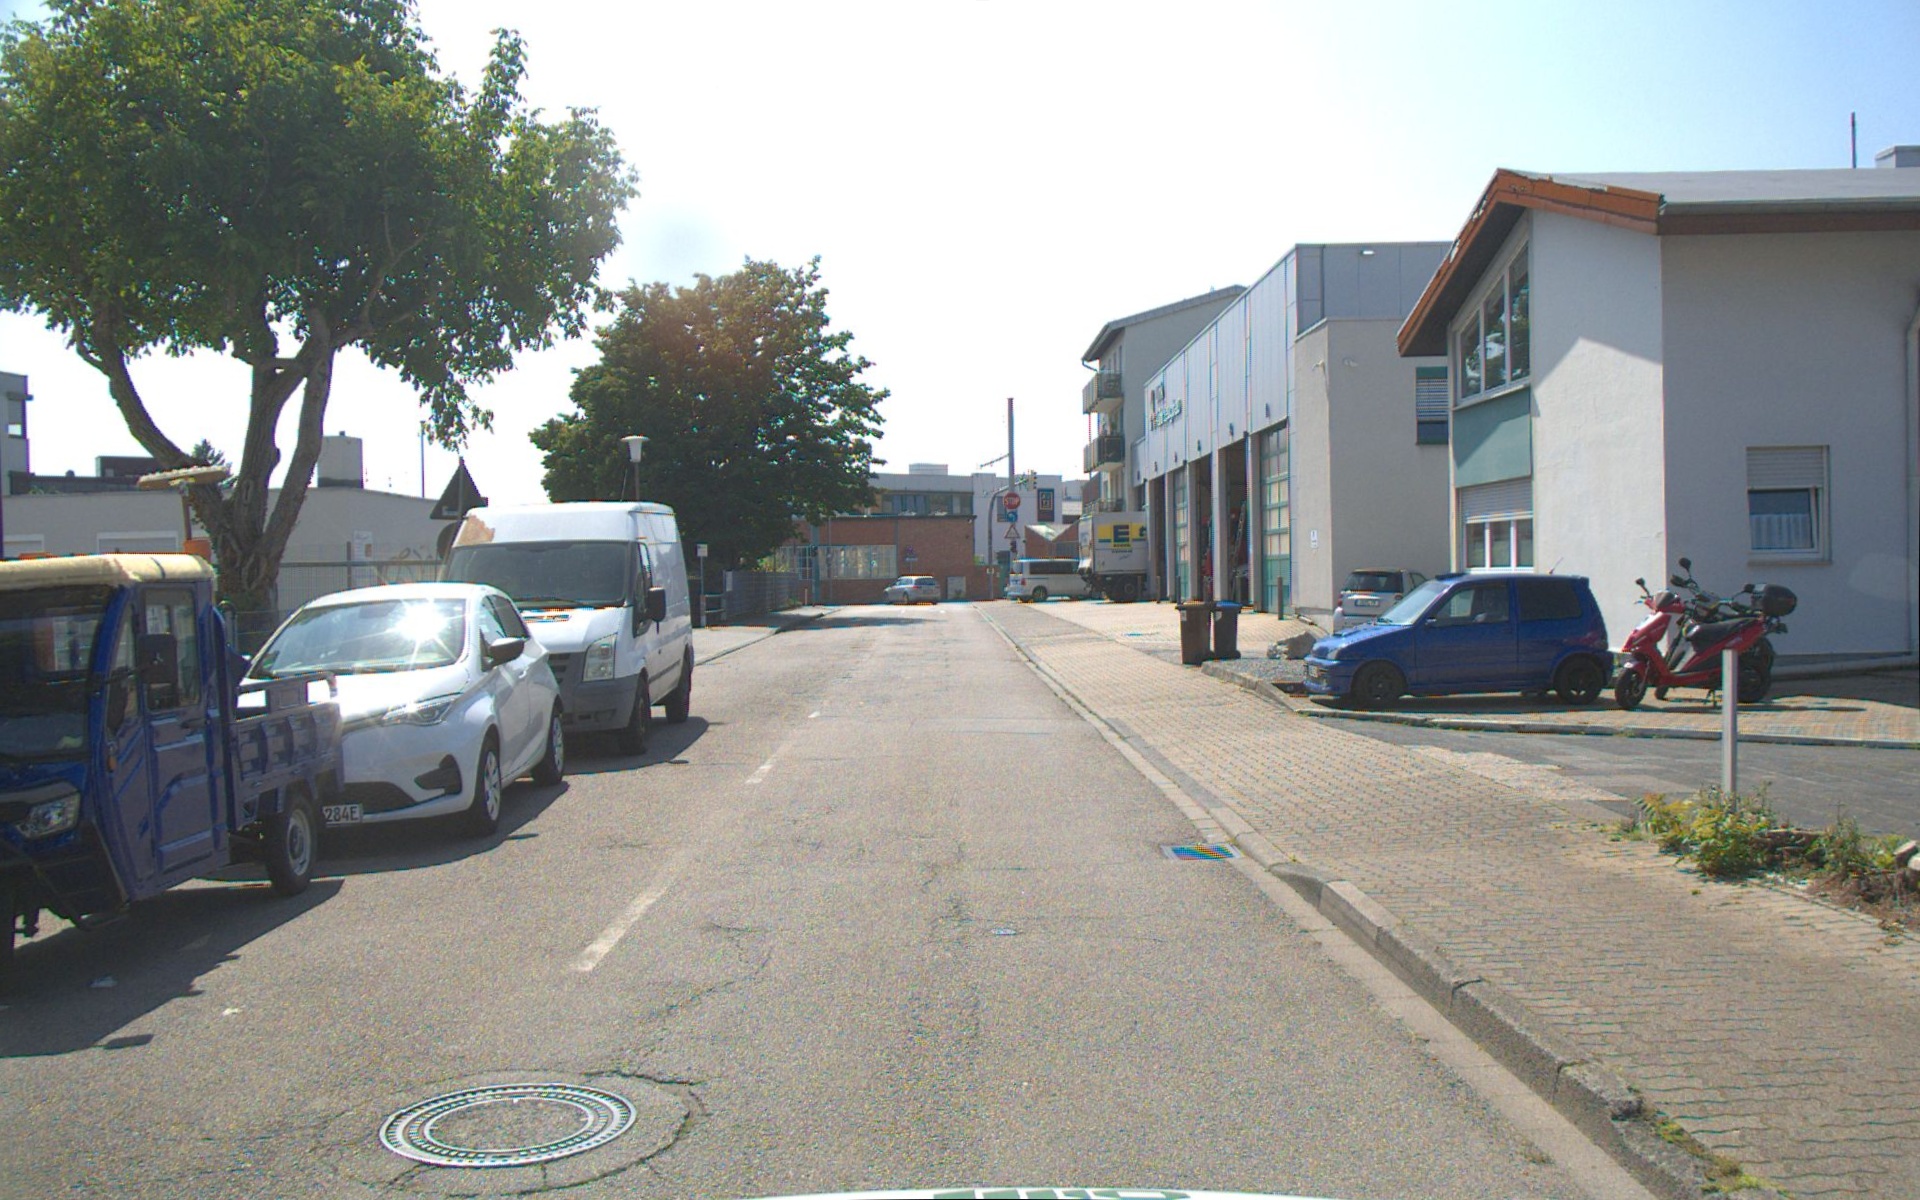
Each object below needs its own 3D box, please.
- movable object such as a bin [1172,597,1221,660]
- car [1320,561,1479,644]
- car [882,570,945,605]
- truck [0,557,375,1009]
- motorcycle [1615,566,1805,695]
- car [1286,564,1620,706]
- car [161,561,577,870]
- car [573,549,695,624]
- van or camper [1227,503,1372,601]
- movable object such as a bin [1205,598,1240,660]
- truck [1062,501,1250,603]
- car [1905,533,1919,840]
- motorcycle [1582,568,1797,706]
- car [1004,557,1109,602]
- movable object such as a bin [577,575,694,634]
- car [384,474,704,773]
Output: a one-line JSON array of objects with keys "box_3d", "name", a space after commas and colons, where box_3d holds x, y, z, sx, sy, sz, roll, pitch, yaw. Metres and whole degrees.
[{"box_3d": [3.708, 0.443, 25.933, 0.557, 0.962, 0.556, -1, 1, 32], "name": "movable object such as a bin"}, {"box_3d": [9.115, 0.024, 34.176, 1.746, 1.566, 3.683, -1, 1, 40], "name": "car"}, {"box_3d": [-2.469, -0.663, 86.739, 1.867, 1.714, 3.925, 1, 1, -26], "name": "car"}, {"box_3d": [-3.798, 0.678, 7.671, 1.116, 1.650, 3.139, -3, 1, -3], "name": "truck"}, {"box_3d": [8.210, 0.318, 18.133, 1.717, 1.301, 0.795, -3, 0, -10], "name": "motorcycle"}, {"box_3d": [5.388, 0.358, 18.349, 3.186, 1.423, 1.673, -1, 1, -1], "name": "car"}, {"box_3d": [-3.773, 0.633, 11.281, 1.671, 1.652, 3.969, -2, 0, -5], "name": "car"}, {"box_3d": [-11.600, -0.482, 59.020, 4.004, 2.557, 1.776, -1, 1, -3], "name": "car"}, {"box_3d": [12.050, -1.684, 58.923, 4.662, 3.346, 1.998, -1, 1, -5], "name": "van or camper"}, {"box_3d": [4.186, 0.456, 26.353, 0.502, 0.962, 0.488, -2, 1, 10], "name": "movable object such as a bin"}, {"box_3d": [8.192, -2.002, 69.607, 7.220, 3.708, 2.764, -4, 1, -7], "name": "truck"}, {"box_3d": [5.872, 0.449, 6.490, 1.775, 1.585, 4.291, -1, 1, -2], "name": "car"}, {"box_3d": [7.527, 0.369, 17.116, 1.832, 1.301, 0.796, -3, 0, -4], "name": "motorcycle"}, {"box_3d": [4.551, -0.972, 77.953, 4.585, 1.992, 1.905, -1, 1, -20], "name": "car"}, {"box_3d": [-9.202, 0.104, 47.096, 2.571, 1.536, 2.730, -2, 1, 5], "name": "movable object such as a bin"}, {"box_3d": [-3.880, 0.166, 16.454, 1.965, 2.407, 5.227, -3, 1, -3], "name": "car"}]
